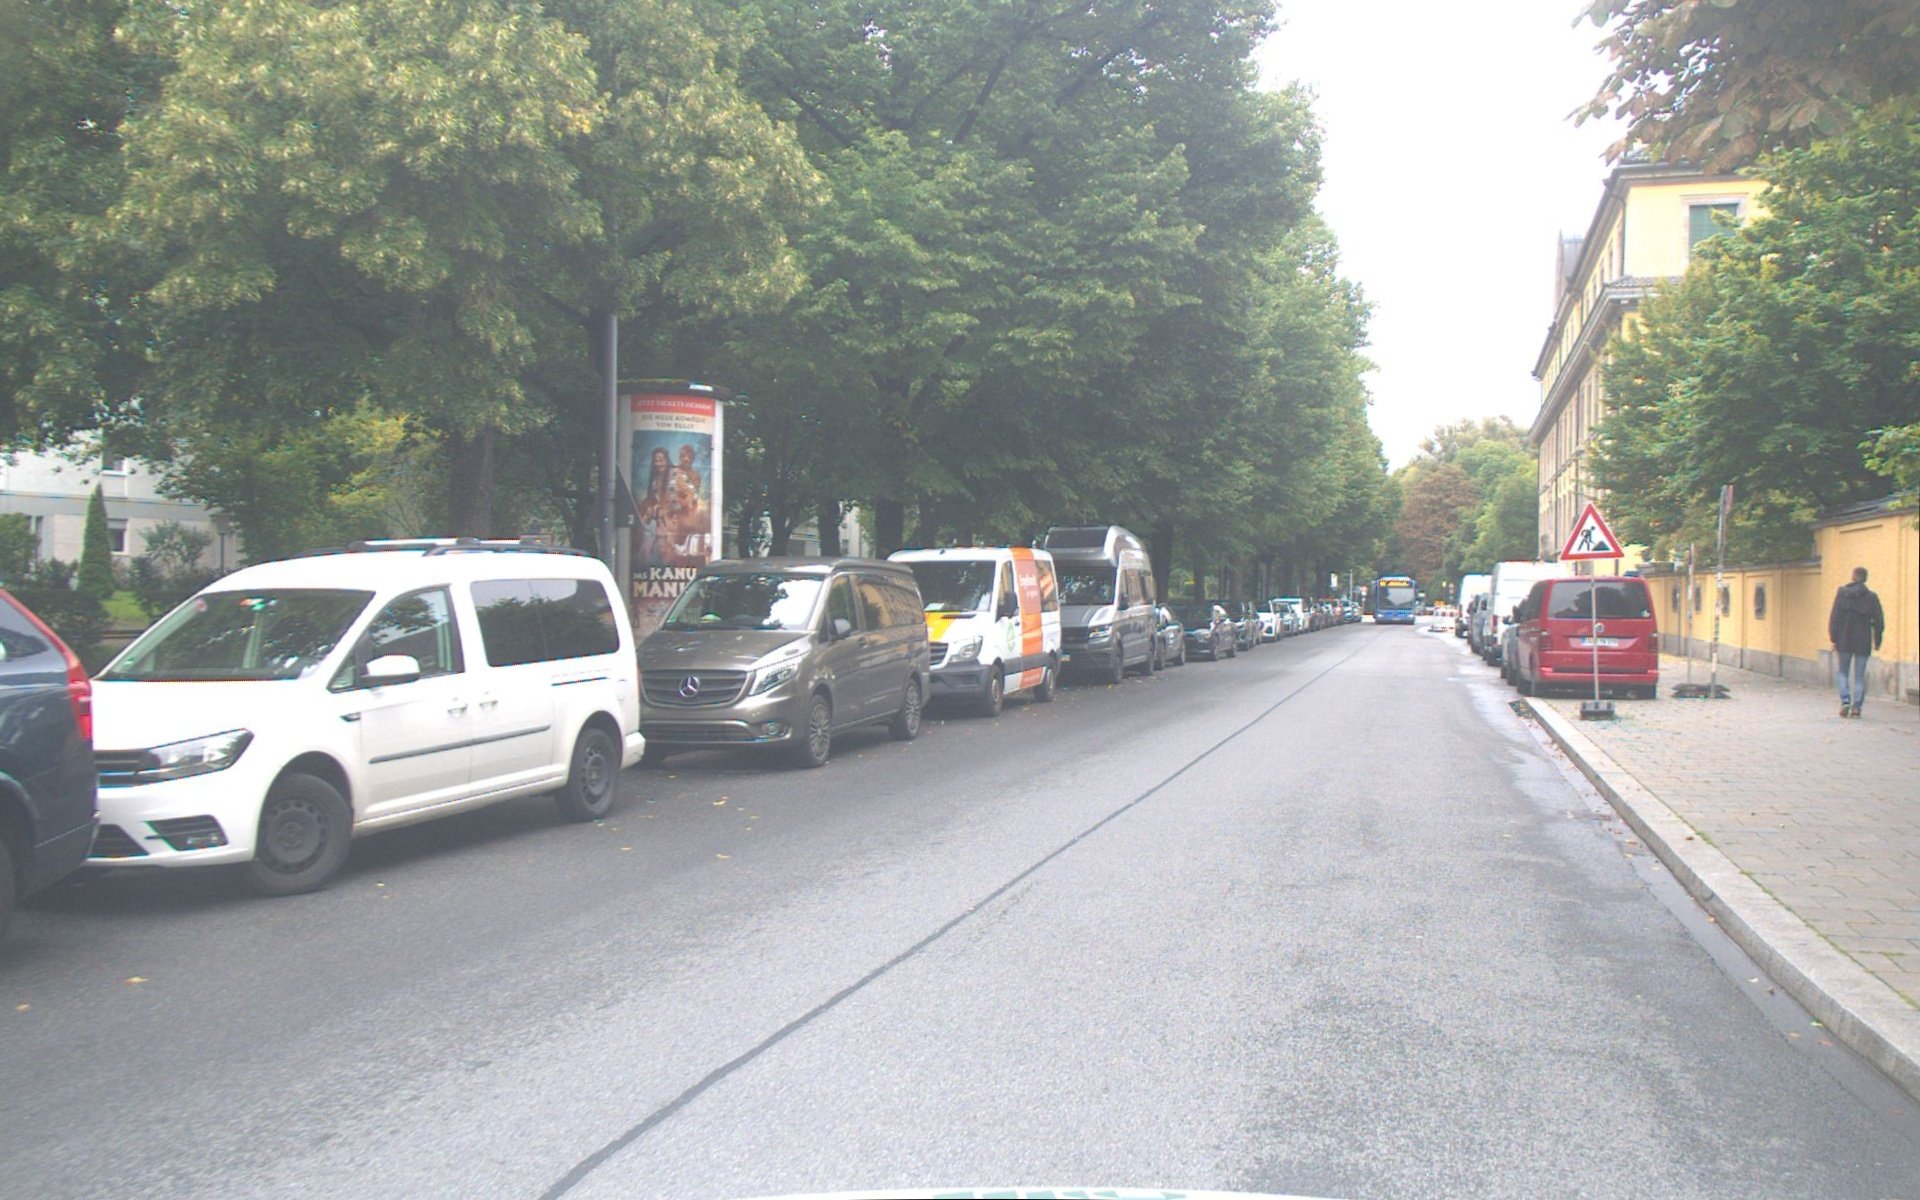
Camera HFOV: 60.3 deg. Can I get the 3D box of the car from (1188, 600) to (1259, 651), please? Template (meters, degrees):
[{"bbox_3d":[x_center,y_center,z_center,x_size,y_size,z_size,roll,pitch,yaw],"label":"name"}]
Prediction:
[{"bbox_3d":[8.263,0.759,51.693,1.813,1.499,4.003,1,0,14],"label":"car"}]

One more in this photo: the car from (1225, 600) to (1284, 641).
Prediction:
[{"bbox_3d":[11.130,0.745,62.381,1.813,1.499,4.003,1,0,15],"label":"car"}]

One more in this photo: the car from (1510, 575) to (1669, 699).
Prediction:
[{"bbox_3d":[10.313,0.565,27.416,1.948,1.871,4.717,0,0,15],"label":"car"}]

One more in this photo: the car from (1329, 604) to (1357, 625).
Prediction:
[{"bbox_3d":[27.734,1.034,119.643,1.813,1.499,4.003,1,0,15],"label":"car"}]

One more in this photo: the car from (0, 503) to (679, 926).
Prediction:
[{"bbox_3d":[-3.645,0.538,10.231,1.791,1.952,4.852,0,0,17],"label":"car"}]

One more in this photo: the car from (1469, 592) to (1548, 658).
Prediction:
[{"bbox_3d":[16.351,0.731,49.466,1.948,1.876,4.325,0,0,15],"label":"car"}]

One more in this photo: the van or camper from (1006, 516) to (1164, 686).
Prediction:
[{"bbox_3d":[2.563,0.030,32.325,1.958,2.996,6.015,0,0,15],"label":"van or camper"}]

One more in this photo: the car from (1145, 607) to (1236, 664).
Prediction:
[{"bbox_3d":[6.082,0.885,43.318,1.835,1.371,4.003,1,0,15],"label":"car"}]

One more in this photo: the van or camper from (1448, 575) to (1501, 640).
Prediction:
[{"bbox_3d":[22.794,0.328,73.459,2.070,2.780,5.246,0,0,16],"label":"van or camper"}]

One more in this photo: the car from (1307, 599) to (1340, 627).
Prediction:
[{"bbox_3d":[23.218,0.837,105.598,1.813,1.731,4.003,1,0,15],"label":"car"}]

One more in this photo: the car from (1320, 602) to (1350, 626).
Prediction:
[{"bbox_3d":[25.847,0.946,113.928,1.813,1.599,4.003,1,0,15],"label":"car"}]

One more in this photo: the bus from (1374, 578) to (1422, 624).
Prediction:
[{"bbox_3d":[30.041,0.062,113.123,2.656,2.950,14.562,1,0,17],"label":"bus"}]

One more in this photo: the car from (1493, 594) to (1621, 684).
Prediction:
[{"bbox_3d":[11.644,0.722,32.510,1.948,1.637,4.325,0,0,15],"label":"car"}]

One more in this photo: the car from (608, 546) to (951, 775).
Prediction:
[{"bbox_3d":[-1.605,0.530,16.928,1.847,1.967,5.212,0,0,13],"label":"car"}]

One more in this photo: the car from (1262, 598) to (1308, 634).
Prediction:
[{"bbox_3d":[15.279,0.734,77.665,1.813,1.591,4.003,1,0,15],"label":"car"}]

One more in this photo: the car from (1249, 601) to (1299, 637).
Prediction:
[{"bbox_3d":[13.721,0.814,72.163,1.813,1.499,4.003,1,0,15],"label":"car"}]

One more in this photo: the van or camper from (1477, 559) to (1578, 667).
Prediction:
[{"bbox_3d":[14.503,0.319,42.506,2.086,2.590,5.247,0,0,15],"label":"van or camper"}]

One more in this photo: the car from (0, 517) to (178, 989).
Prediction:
[{"bbox_3d":[-5.102,0.595,5.210,1.951,1.823,4.915,0,0,18],"label":"car"}]

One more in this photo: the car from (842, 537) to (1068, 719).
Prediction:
[{"bbox_3d":[0.082,0.367,23.717,1.905,2.312,5.247,0,0,15],"label":"car"}]

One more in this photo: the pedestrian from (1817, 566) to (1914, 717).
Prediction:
[{"bbox_3d":[11.461,0.506,20.965,0.855,1.863,1.053,0,0,16],"label":"pedestrian"}]

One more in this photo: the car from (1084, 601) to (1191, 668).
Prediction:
[{"bbox_3d":[4.147,0.755,38.095,1.835,1.441,4.003,1,0,15],"label":"car"}]
